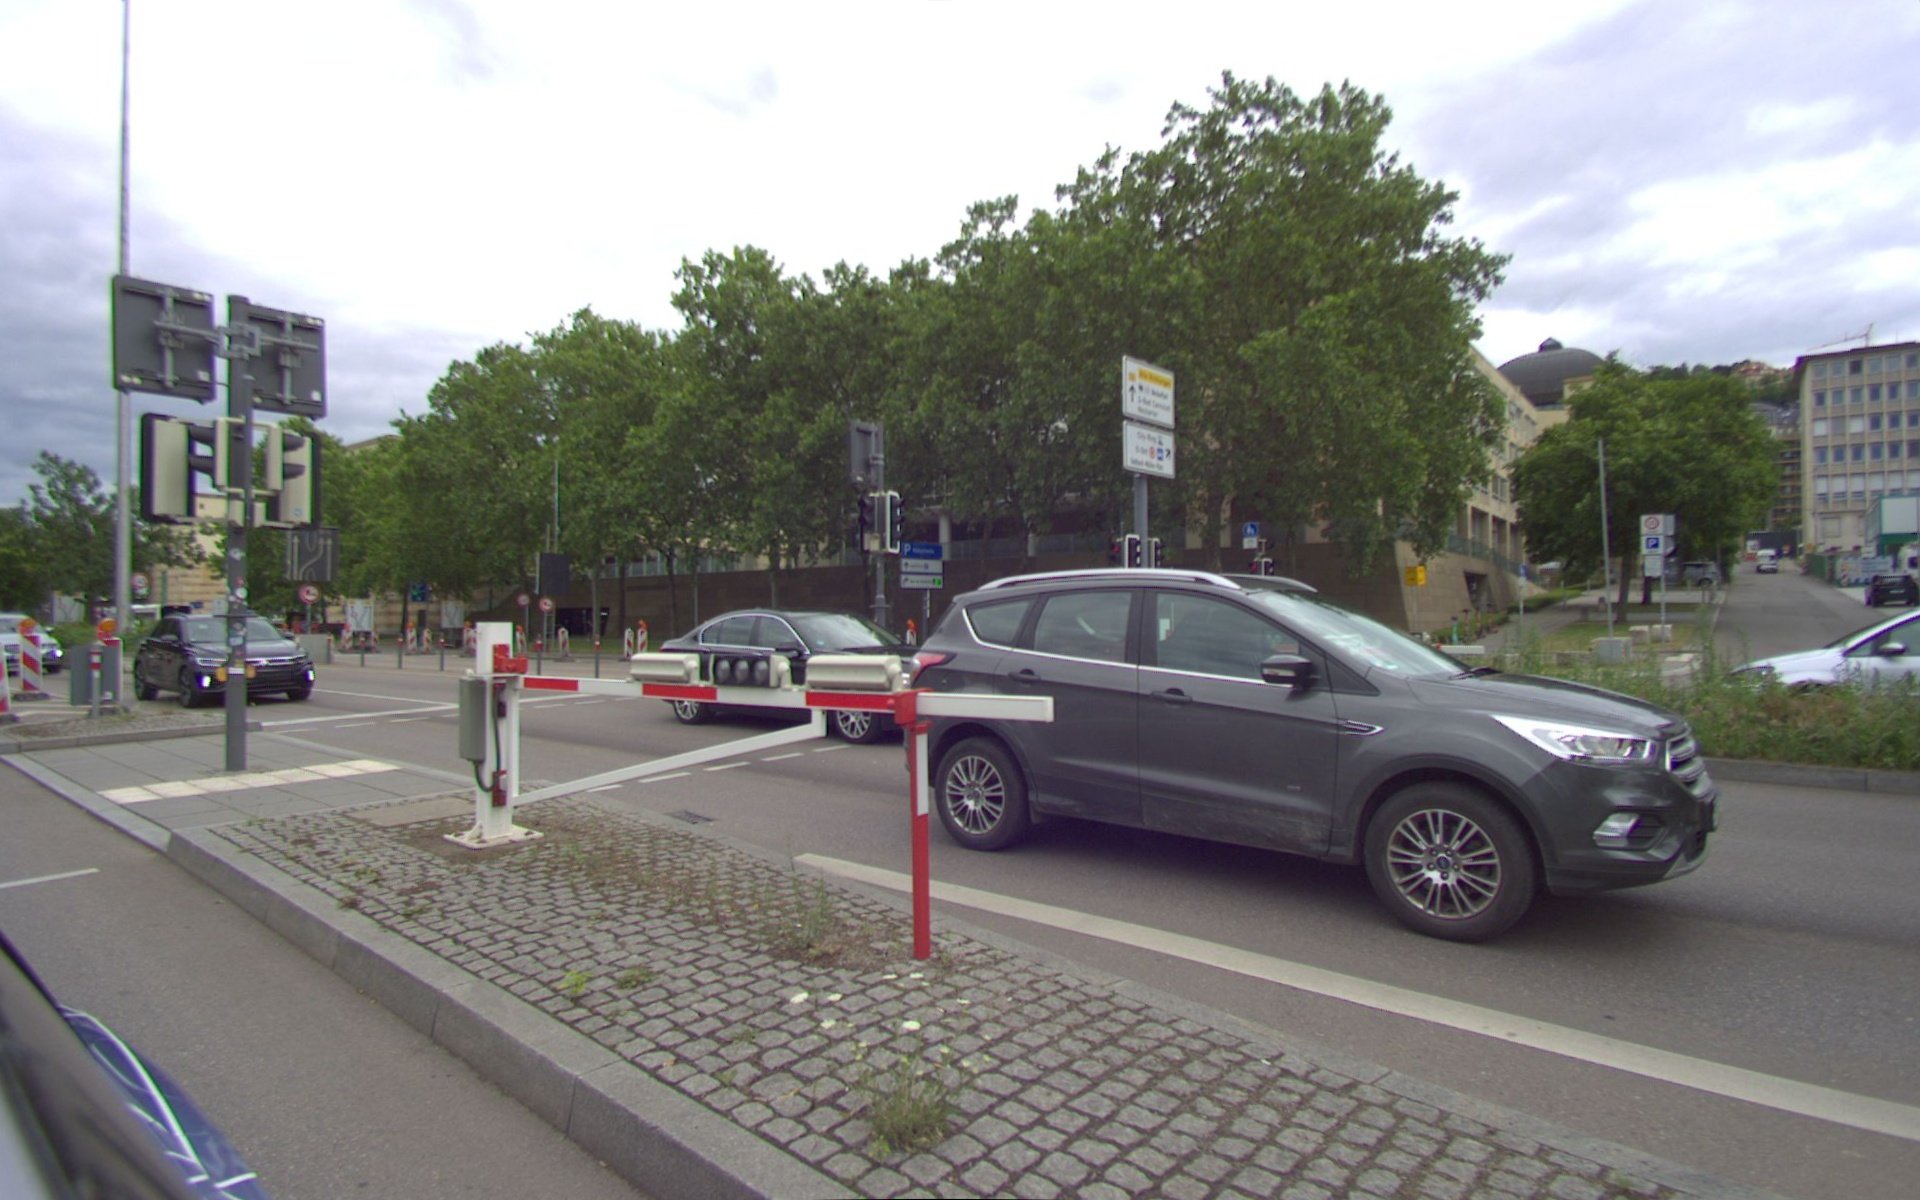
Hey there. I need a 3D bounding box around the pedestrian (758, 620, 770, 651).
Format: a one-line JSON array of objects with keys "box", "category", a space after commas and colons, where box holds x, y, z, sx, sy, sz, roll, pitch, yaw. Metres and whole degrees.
[{"box": [-10.634, 1.915, 54.908, 0.442, 1.619, 0.351, -1, 1, 33], "category": "pedestrian"}]

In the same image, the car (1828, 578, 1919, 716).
[{"box": [11.248, 0.444, 9.881, 4.074, 1.342, 1.781, 0, 1, 37], "category": "car"}]

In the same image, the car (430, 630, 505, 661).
[{"box": [-23.274, 2.138, 47.794, 3.997, 1.383, 1.708, -2, -2, 40], "category": "car"}]

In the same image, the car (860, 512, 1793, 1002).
[{"box": [1.734, 0.599, 5.811, 4.655, 1.728, 1.874, -2, -1, 40], "category": "car"}]

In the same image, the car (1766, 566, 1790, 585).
[{"box": [94.874, -2.833, 117.420, 1.997, 2.029, 3.950, -1, -2, 37], "category": "car"}]

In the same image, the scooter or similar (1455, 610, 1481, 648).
[{"box": [18.784, 1.066, 37.412, 0.537, 1.351, 1.400, -1, -2, 39], "category": "scooter or similar"}]

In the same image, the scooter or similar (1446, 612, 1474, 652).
[{"box": [16.905, 1.071, 34.220, 0.537, 1.351, 1.400, -1, -2, 39], "category": "scooter or similar"}]

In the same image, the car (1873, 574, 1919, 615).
[{"box": [46.397, -0.300, 49.803, 1.998, 1.863, 3.948, 0, 2, 39], "category": "car"}]

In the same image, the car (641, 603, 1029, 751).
[{"box": [-1.682, 0.836, 12.521, 4.803, 1.494, 1.974, -1, -1, 38], "category": "car"}]

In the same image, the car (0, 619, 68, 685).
[{"box": [-25.873, 1.341, 27.296, 4.733, 1.629, 1.974, 0, 0, 39], "category": "car"}]

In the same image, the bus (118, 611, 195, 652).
[{"box": [-68.425, 2.629, 86.062, 10.436, 3.330, 2.884, -1, -1, 39], "category": "bus"}]

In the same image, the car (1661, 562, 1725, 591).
[{"box": [53.816, -1.704, 74.346, 3.682, 2.029, 1.567, -1, -2, 41], "category": "car"}]

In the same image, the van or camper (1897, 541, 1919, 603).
[{"box": [54.951, -1.623, 57.162, 2.393, 3.372, 6.252, -1, 1, 38], "category": "van or camper"}]

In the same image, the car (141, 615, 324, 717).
[{"box": [-12.930, 1.066, 17.891, 4.151, 1.527, 1.744, 0, 0, 42], "category": "car"}]

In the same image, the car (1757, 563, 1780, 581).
[{"box": [98.244, -3.365, 122.950, 1.997, 2.029, 3.950, -1, -2, 37], "category": "car"}]
